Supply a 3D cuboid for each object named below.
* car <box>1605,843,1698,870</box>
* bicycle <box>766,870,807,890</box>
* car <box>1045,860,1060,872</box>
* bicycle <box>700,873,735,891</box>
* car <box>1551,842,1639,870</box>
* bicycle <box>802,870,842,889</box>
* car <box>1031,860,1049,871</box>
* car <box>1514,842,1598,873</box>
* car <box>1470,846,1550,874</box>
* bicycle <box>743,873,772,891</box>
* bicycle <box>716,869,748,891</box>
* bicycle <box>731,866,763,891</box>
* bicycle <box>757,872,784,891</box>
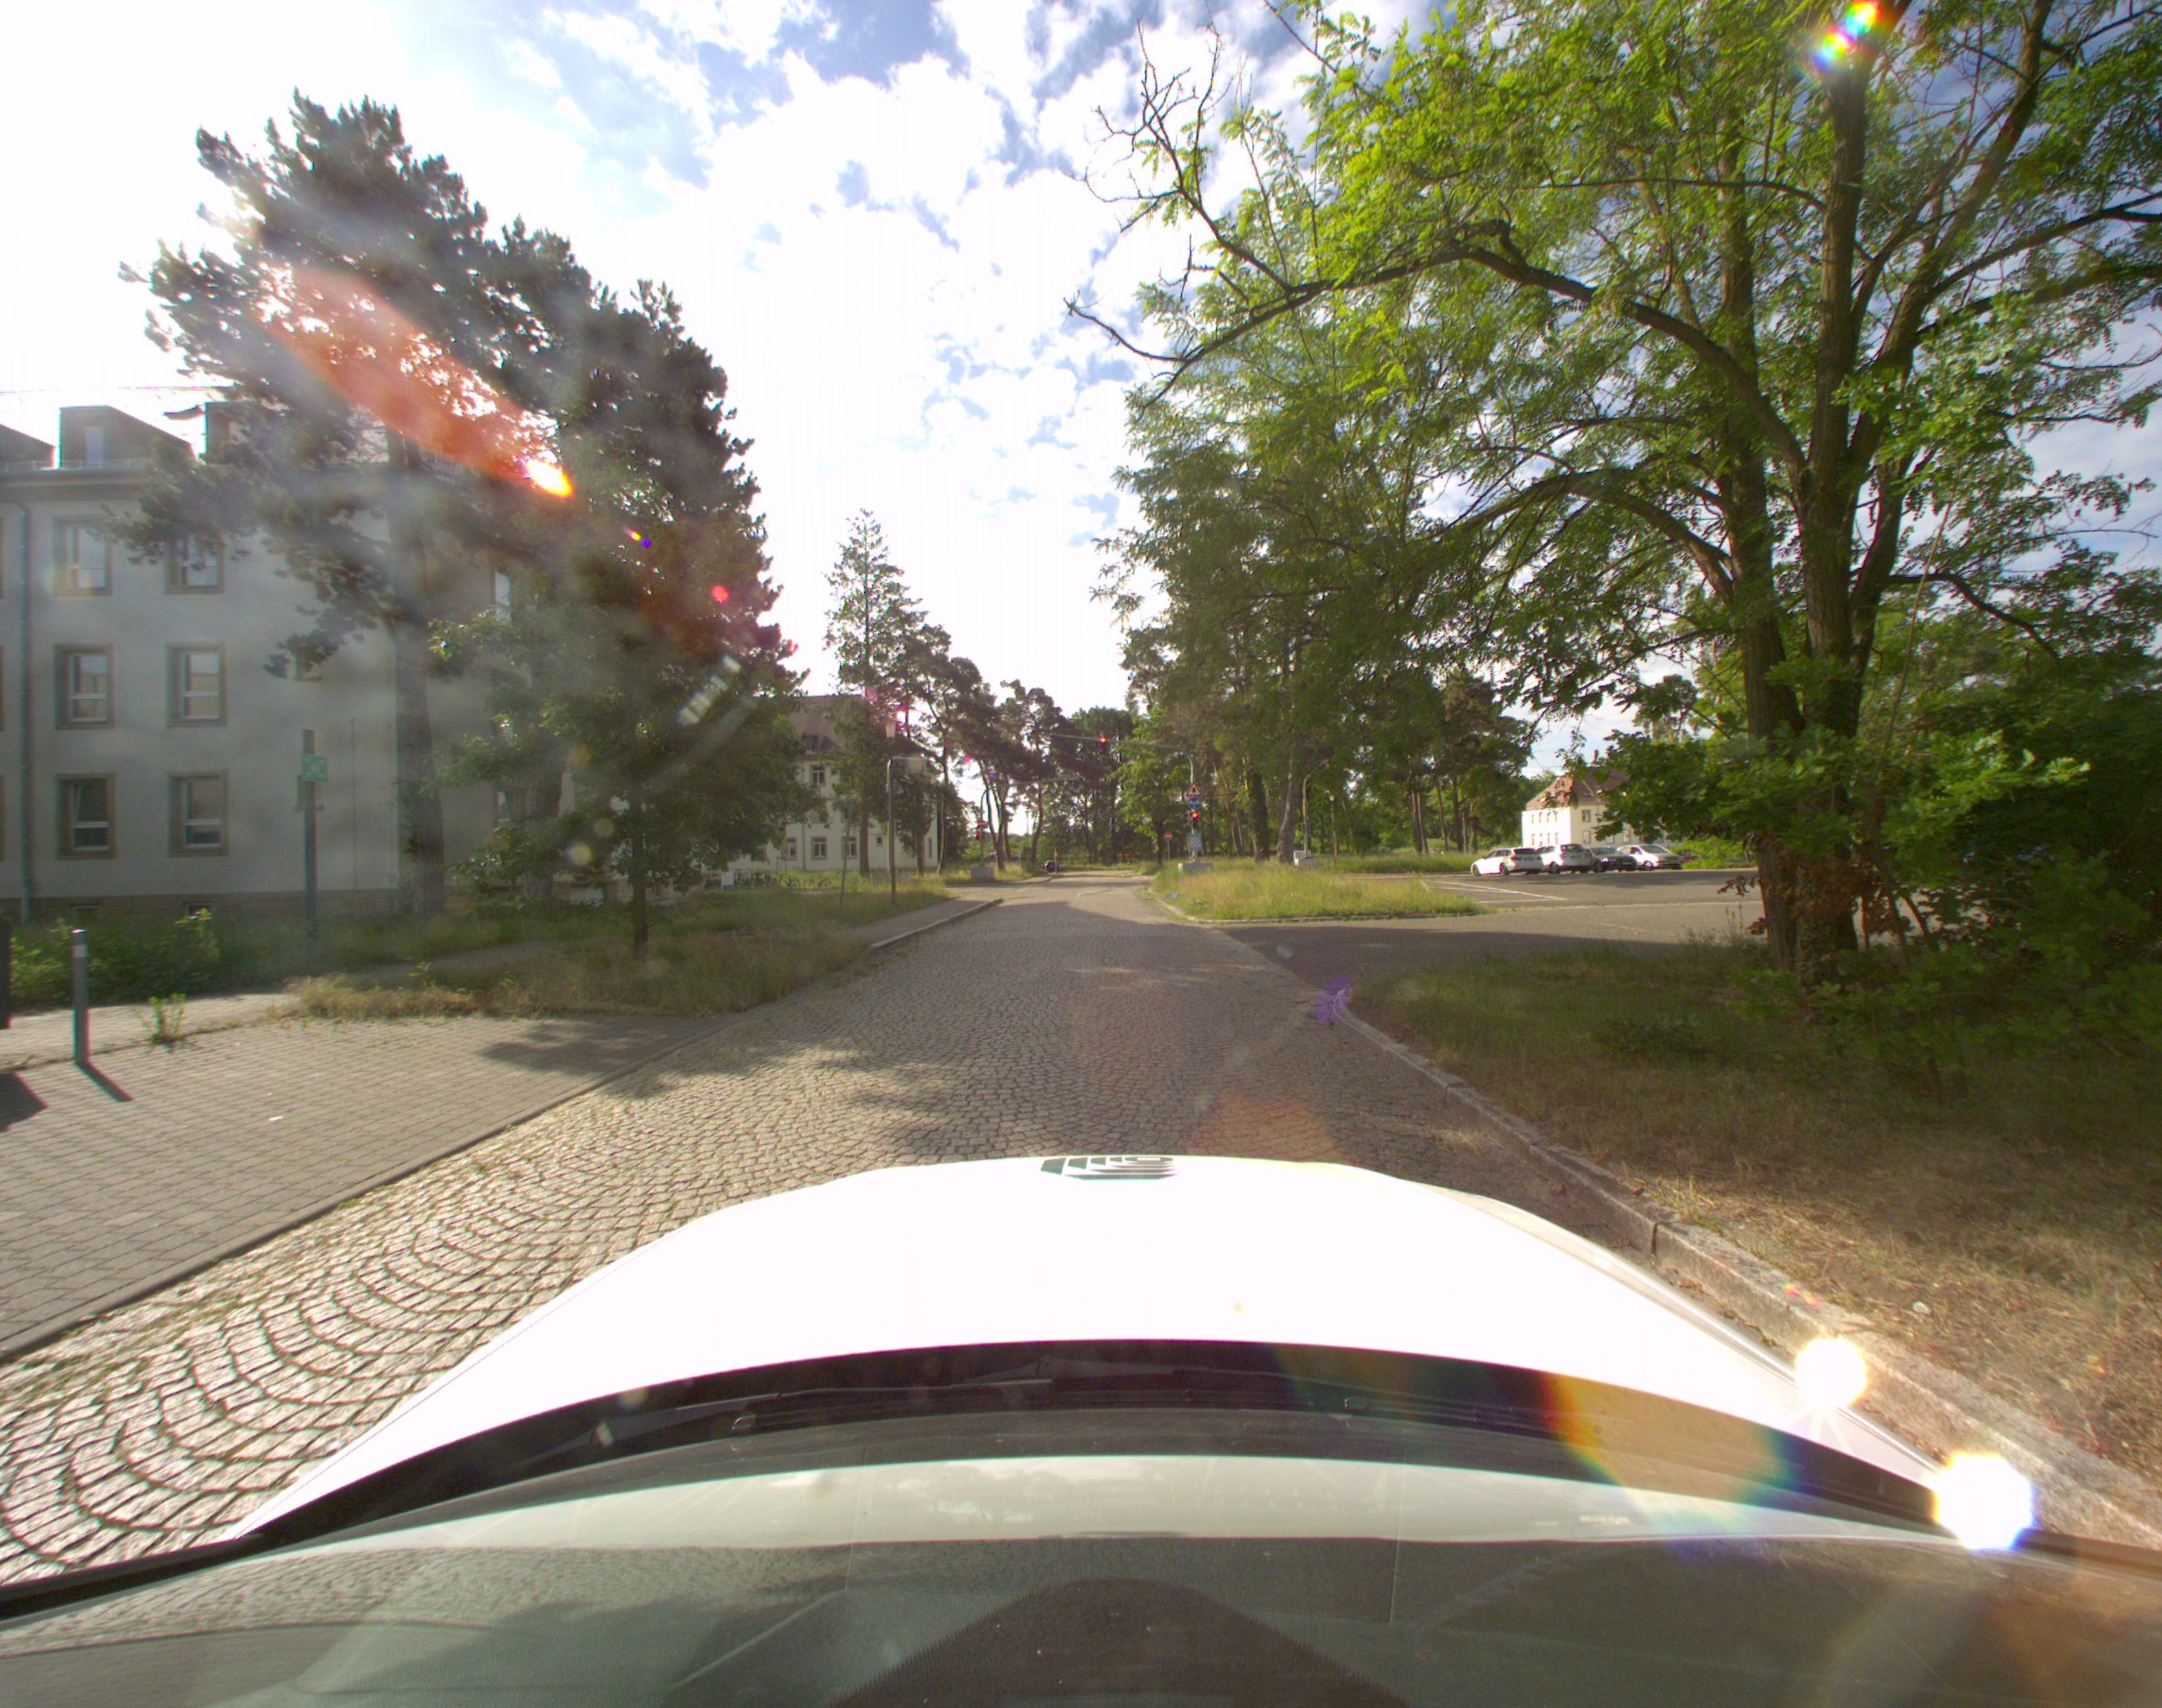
[{"bbox_3d":[30.050,0.156,43.084,1.726,1.312,4.328,-2,0,-2],"label":"car"},{"bbox_3d":[-17.635,1.545,48.751,2.112,1.108,0.828,-2,-1,-3],"label":"bicycle"},{"bbox_3d":[-3.676,1.494,106.133,1.840,1.486,3.998,-2,0,-1],"label":"car"},{"bbox_3d":[-22.301,1.701,50.031,0.897,1.047,2.554,-2,0,1],"label":"bicycle"},{"bbox_3d":[26.969,0.099,42.910,1.727,1.312,4.328,-4,0,-2],"label":"car"},{"bbox_3d":[-15.513,1.535,48.830,2.112,1.047,0.828,-2,-1,-3],"label":"bicycle"},{"bbox_3d":[-5.592,1.554,110.976,1.772,1.490,3.764,-2,0,8],"label":"car"},{"bbox_3d":[24.696,0.202,42.539,1.726,1.476,4.328,-2,0,-2],"label":"car"},{"bbox_3d":[22.177,0.297,42.249,1.726,1.312,4.328,-2,0,-2],"label":"car"},{"bbox_3d":[-19.840,1.691,49.973,0.823,1.047,2.124,-2,0,1],"label":"bicycle"},{"bbox_3d":[-21.404,1.581,50.026,0.823,1.281,2.554,-2,0,1],"label":"bicycle"},{"bbox_3d":[-20.628,1.488,50.322,0.823,1.437,2.554,-2,0,1],"label":"bicycle"},{"bbox_3d":[-19.059,1.689,50.011,0.823,1.047,2.124,-2,0,1],"label":"bicycle"}]
